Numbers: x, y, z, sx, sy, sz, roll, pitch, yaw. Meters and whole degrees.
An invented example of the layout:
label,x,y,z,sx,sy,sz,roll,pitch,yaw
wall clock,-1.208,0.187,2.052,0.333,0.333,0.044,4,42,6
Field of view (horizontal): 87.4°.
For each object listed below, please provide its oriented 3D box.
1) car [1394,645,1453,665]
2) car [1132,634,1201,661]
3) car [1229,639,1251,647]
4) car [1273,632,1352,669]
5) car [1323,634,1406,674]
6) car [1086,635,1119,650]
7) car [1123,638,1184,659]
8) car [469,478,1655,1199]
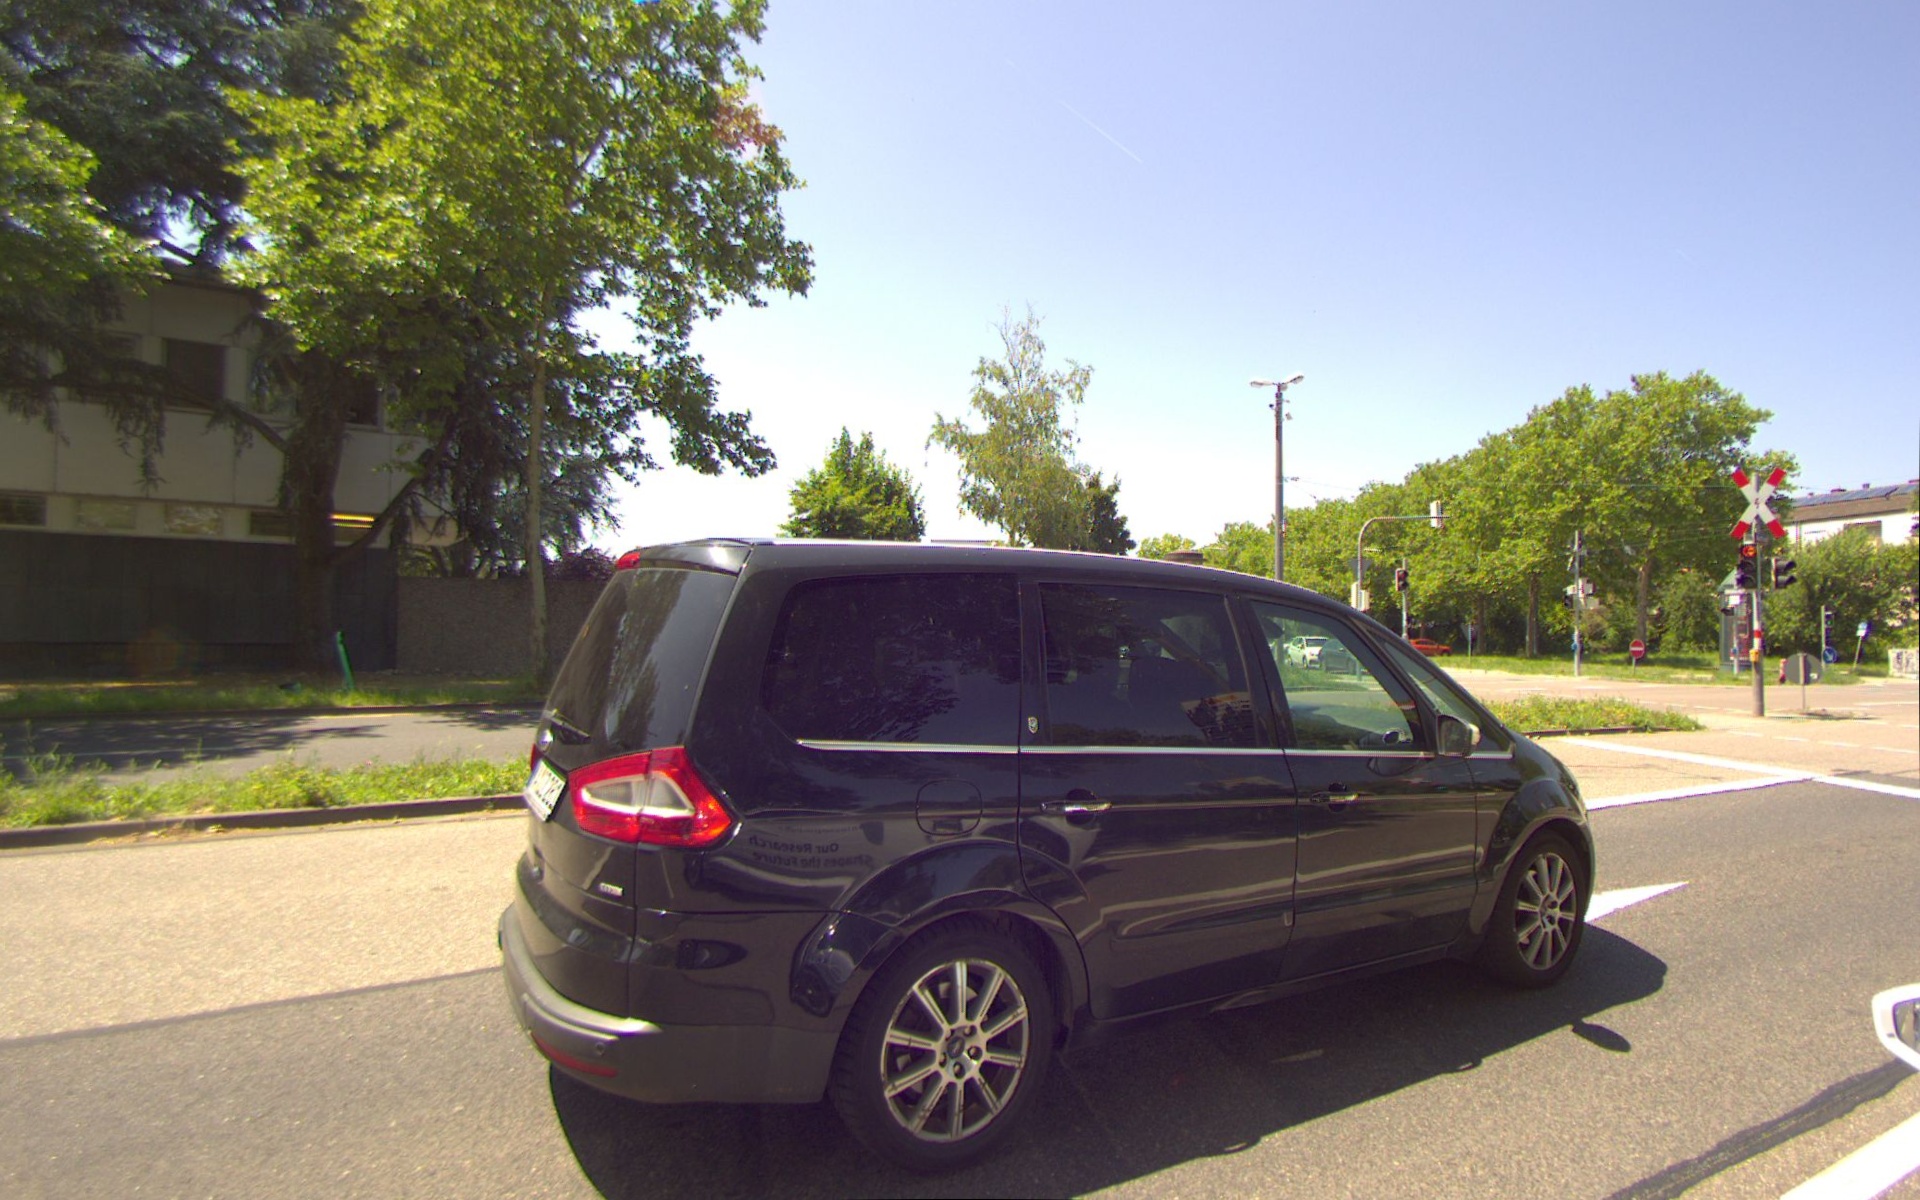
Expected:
label,x,y,z,sx,sy,sz,roll,pitch,yaw
car,36.645,4.359,79.443,4.058,1.415,1.458,2,0,-5
car,13.045,2.977,63.356,4.142,1.672,1.771,2,-2,-28
car,37.006,5.654,132.690,2.668,1.007,1.009,1,-2,-3
car,16.418,2.314,47.011,2.173,1.626,4.462,0,-2,0
car,16.021,2.113,40.018,1.730,1.476,3.993,0,-2,0
car,12.183,3.648,85.964,2.851,1.221,1.175,2,-2,-37
car,13.984,3.486,72.590,4.008,1.442,1.934,2,-2,-26
car,0.626,0.694,4.081,4.594,1.779,1.845,2,-1,-30
